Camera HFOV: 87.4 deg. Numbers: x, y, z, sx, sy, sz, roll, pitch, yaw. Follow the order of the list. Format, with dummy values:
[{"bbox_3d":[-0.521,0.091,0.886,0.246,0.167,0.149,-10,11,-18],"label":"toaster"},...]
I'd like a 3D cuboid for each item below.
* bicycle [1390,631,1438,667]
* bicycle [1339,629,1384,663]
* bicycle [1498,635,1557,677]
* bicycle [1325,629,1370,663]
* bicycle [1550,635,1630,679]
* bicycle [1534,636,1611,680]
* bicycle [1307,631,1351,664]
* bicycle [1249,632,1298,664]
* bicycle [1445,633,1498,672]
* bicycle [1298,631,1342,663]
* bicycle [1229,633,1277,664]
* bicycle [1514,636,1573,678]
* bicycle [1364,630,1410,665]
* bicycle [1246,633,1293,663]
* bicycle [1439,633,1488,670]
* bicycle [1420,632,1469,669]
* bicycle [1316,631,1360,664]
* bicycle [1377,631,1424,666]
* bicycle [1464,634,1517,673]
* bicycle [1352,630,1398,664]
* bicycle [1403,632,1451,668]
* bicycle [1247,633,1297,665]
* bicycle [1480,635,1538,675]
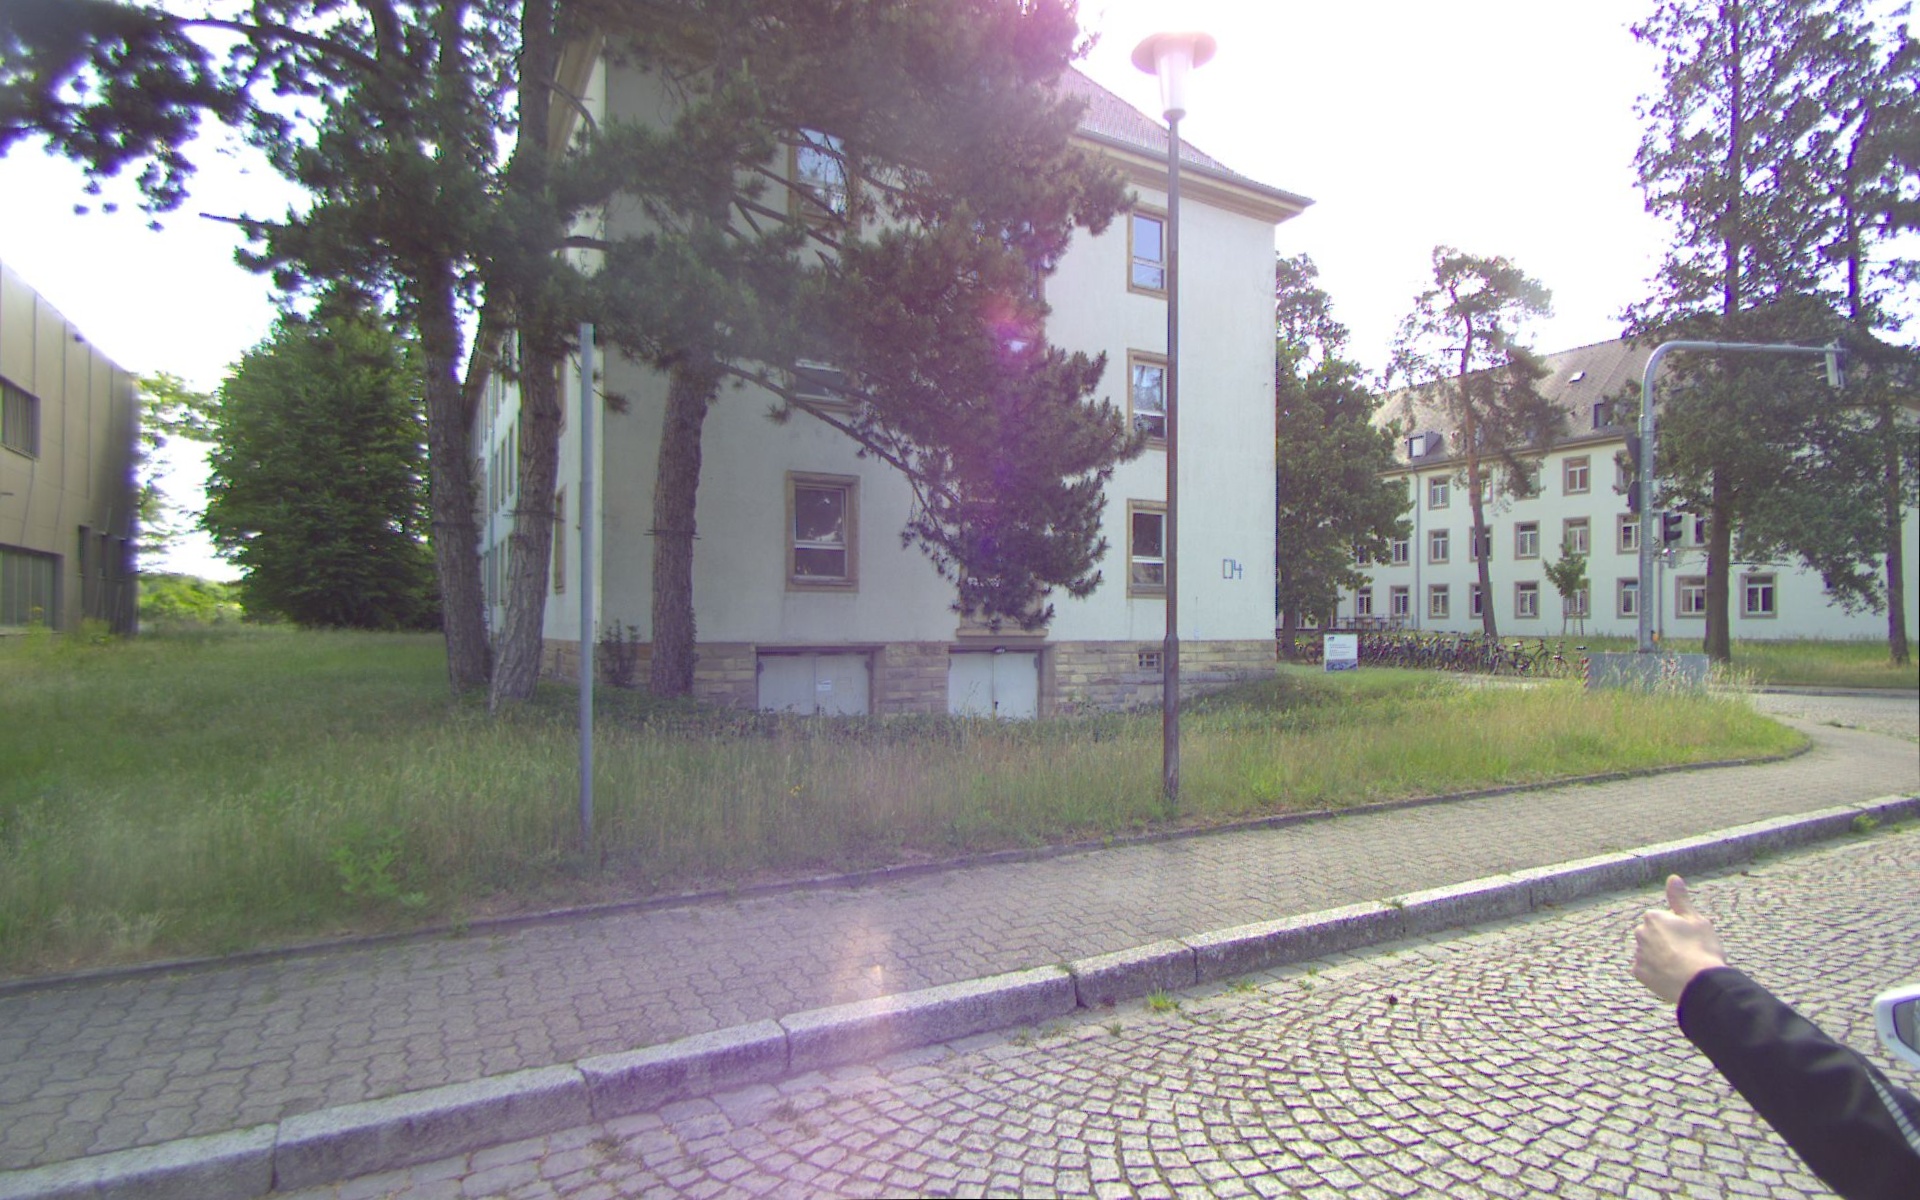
[{"bbox_3d":[16.012,1.722,35.424,1.954,1.237,0.512,1,-1,-31],"label":"bicycle"},{"bbox_3d":[14.946,1.717,37.369,1.914,1.237,0.512,1,-1,-31],"label":"bicycle"},{"bbox_3d":[17.660,1.721,31.227,2.099,1.237,0.630,1,-1,-31],"label":"bicycle"},{"bbox_3d":[14.638,1.716,37.895,1.914,1.237,0.512,1,-1,-31],"label":"bicycle"},{"bbox_3d":[18.528,1.655,29.600,0.627,1.237,1.936,1,-1,-29],"label":"bicycle"},{"bbox_3d":[17.871,1.665,29.331,0.627,1.237,1.853,1,-1,-29],"label":"bicycle"},{"bbox_3d":[14.205,1.808,38.674,1.914,1.237,0.512,1,-1,-31],"label":"bicycle"},{"bbox_3d":[12.357,1.899,39.657,1.794,1.237,0.515,0,-1,25],"label":"bicycle"},{"bbox_3d":[17.029,1.729,33.414,2.005,1.237,0.576,1,-1,-31],"label":"bicycle"},{"bbox_3d":[13.992,1.808,39.068,1.914,1.237,0.512,1,-1,-31],"label":"bicycle"},{"bbox_3d":[11.862,1.939,40.655,1.792,1.237,0.516,0,-1,7],"label":"bicycle"},{"bbox_3d":[17.903,1.721,30.810,2.089,1.237,0.630,1,-1,-31],"label":"bicycle"},{"bbox_3d":[15.466,1.718,36.355,1.914,1.237,0.512,1,-1,-31],"label":"bicycle"},{"bbox_3d":[12.659,1.955,41.120,1.792,1.237,0.516,0,-1,7],"label":"bicycle"},{"bbox_3d":[17.109,1.733,34.126,1.877,1.237,0.545,1,-1,-31],"label":"bicycle"},{"bbox_3d":[16.625,1.728,34.435,1.992,1.237,0.512,1,-1,-31],"label":"bicycle"},{"bbox_3d":[14.414,1.808,38.300,1.914,1.237,0.512,1,-1,-31],"label":"bicycle"},{"bbox_3d":[15.727,1.718,35.866,1.931,1.237,0.512,1,-1,-31],"label":"bicycle"},{"bbox_3d":[17.283,1.726,32.697,1.966,1.237,0.569,1,-1,-31],"label":"bicycle"},{"bbox_3d":[15.219,1.717,36.843,1.914,1.237,0.512,1,-1,-31],"label":"bicycle"},{"bbox_3d":[16.269,1.727,34.976,1.954,1.237,0.512,1,-1,-31],"label":"bicycle"},{"bbox_3d":[12.119,1.898,39.054,1.794,1.237,0.515,0,-1,25],"label":"bicycle"},{"bbox_3d":[17.372,1.721,31.757,2.080,1.237,0.630,1,-1,-31],"label":"bicycle"}]
